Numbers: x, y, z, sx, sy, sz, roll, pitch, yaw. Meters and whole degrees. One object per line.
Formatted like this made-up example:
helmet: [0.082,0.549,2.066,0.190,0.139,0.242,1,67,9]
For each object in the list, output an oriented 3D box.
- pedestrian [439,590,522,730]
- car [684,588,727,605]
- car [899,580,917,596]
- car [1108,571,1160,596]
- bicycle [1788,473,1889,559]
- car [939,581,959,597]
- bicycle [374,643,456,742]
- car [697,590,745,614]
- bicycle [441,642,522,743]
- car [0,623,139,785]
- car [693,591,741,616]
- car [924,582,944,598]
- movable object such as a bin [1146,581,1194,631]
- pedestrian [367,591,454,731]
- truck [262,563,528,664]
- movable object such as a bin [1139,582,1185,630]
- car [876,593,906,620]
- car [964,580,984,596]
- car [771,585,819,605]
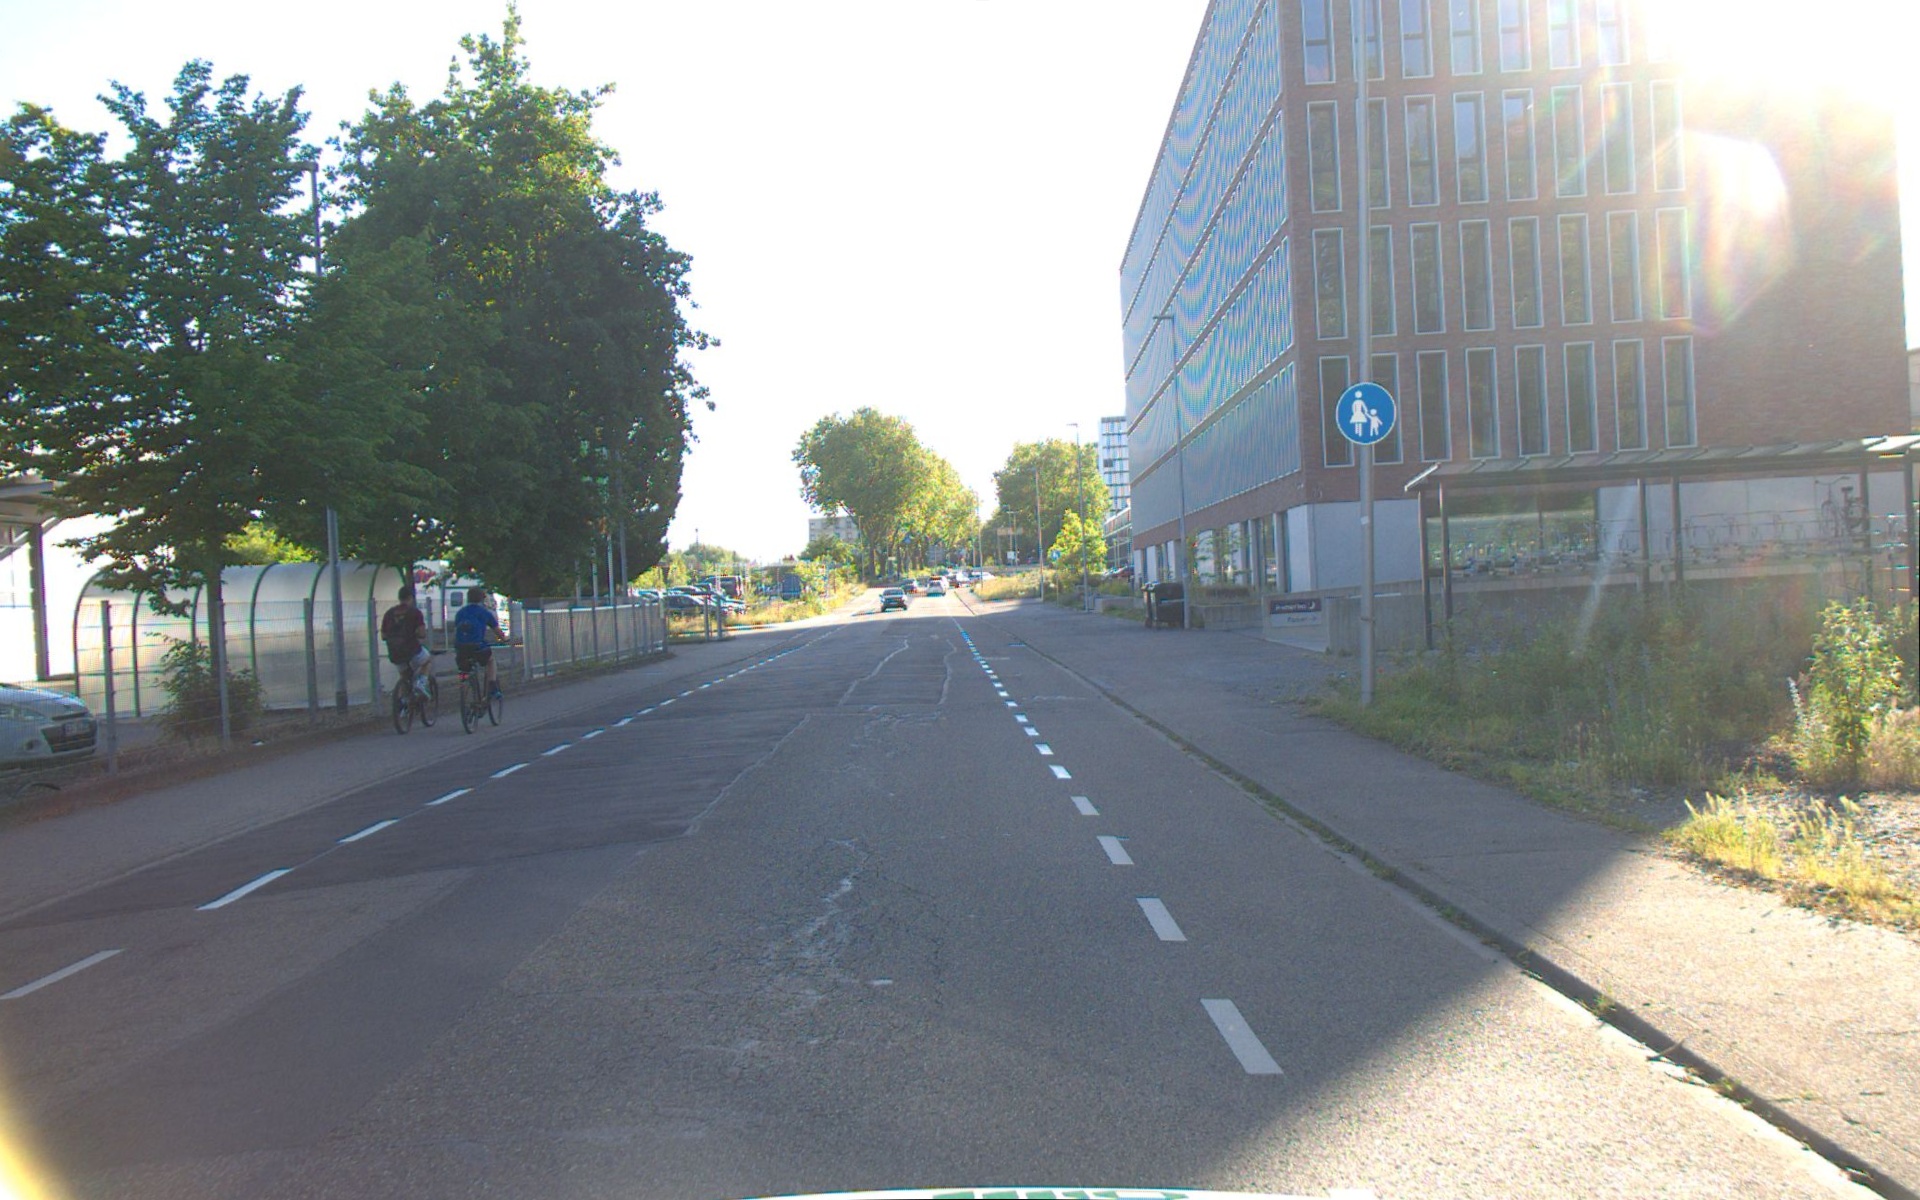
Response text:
pedestrian: [-6.277,0.768,21.690,0.706,1.750,1.057,-3,0,-1]
car: [-27.099,-0.374,176.401,4.235,1.646,1.878,-2,1,-2]
car: [-5.545,-1.257,176.296,1.620,1.529,4.000,-4,0,0]
car: [14.549,-1.370,138.371,4.098,1.608,1.852,-4,-8,2]
bicycle: [15.107,-1.420,28.489,0.618,1.344,1.989,-2,0,-1]
car: [-1.278,-1.241,188.765,2.119,1.713,4.000,-3,0,0]
bicycle: [-7.139,1.188,21.751,0.460,1.168,1.869,-1,1,-1]
car: [-26.975,0.206,186.707,4.994,2.502,2.319,-2,1,-2]
bicycle: [-6.257,1.185,21.721,0.437,1.168,2.200,-1,1,-1]
car: [-11.061,1.223,17.404,3.814,1.537,1.784,-6,1,-4]
car: [-27.009,0.394,184.007,4.827,2.502,2.319,-3,0,-2]
car: [-2.507,-0.951,158.020,1.753,1.445,4.001,-2,1,0]
movable object such as a bin: [6.102,0.165,48.134,1.106,1.395,1.345,-3,1,-2]
pedestrian: [-7.185,0.773,21.664,0.706,1.750,1.057,-3,0,-1]
truck: [-23.244,0.535,68.397,9.896,3.677,2.775,-2,0,-2]
movable object such as a bin: [6.073,0.168,49.739,1.106,1.359,1.345,-3,1,-2]
car: [-4.604,0.402,110.494,1.706,1.551,4.111,-7,1,-1]
car: [1.602,-1.374,194.003,2.120,1.713,3.999,-3,0,-2]
car: [-17.012,-0.511,170.744,4.748,1.866,2.000,-2,1,-2]
